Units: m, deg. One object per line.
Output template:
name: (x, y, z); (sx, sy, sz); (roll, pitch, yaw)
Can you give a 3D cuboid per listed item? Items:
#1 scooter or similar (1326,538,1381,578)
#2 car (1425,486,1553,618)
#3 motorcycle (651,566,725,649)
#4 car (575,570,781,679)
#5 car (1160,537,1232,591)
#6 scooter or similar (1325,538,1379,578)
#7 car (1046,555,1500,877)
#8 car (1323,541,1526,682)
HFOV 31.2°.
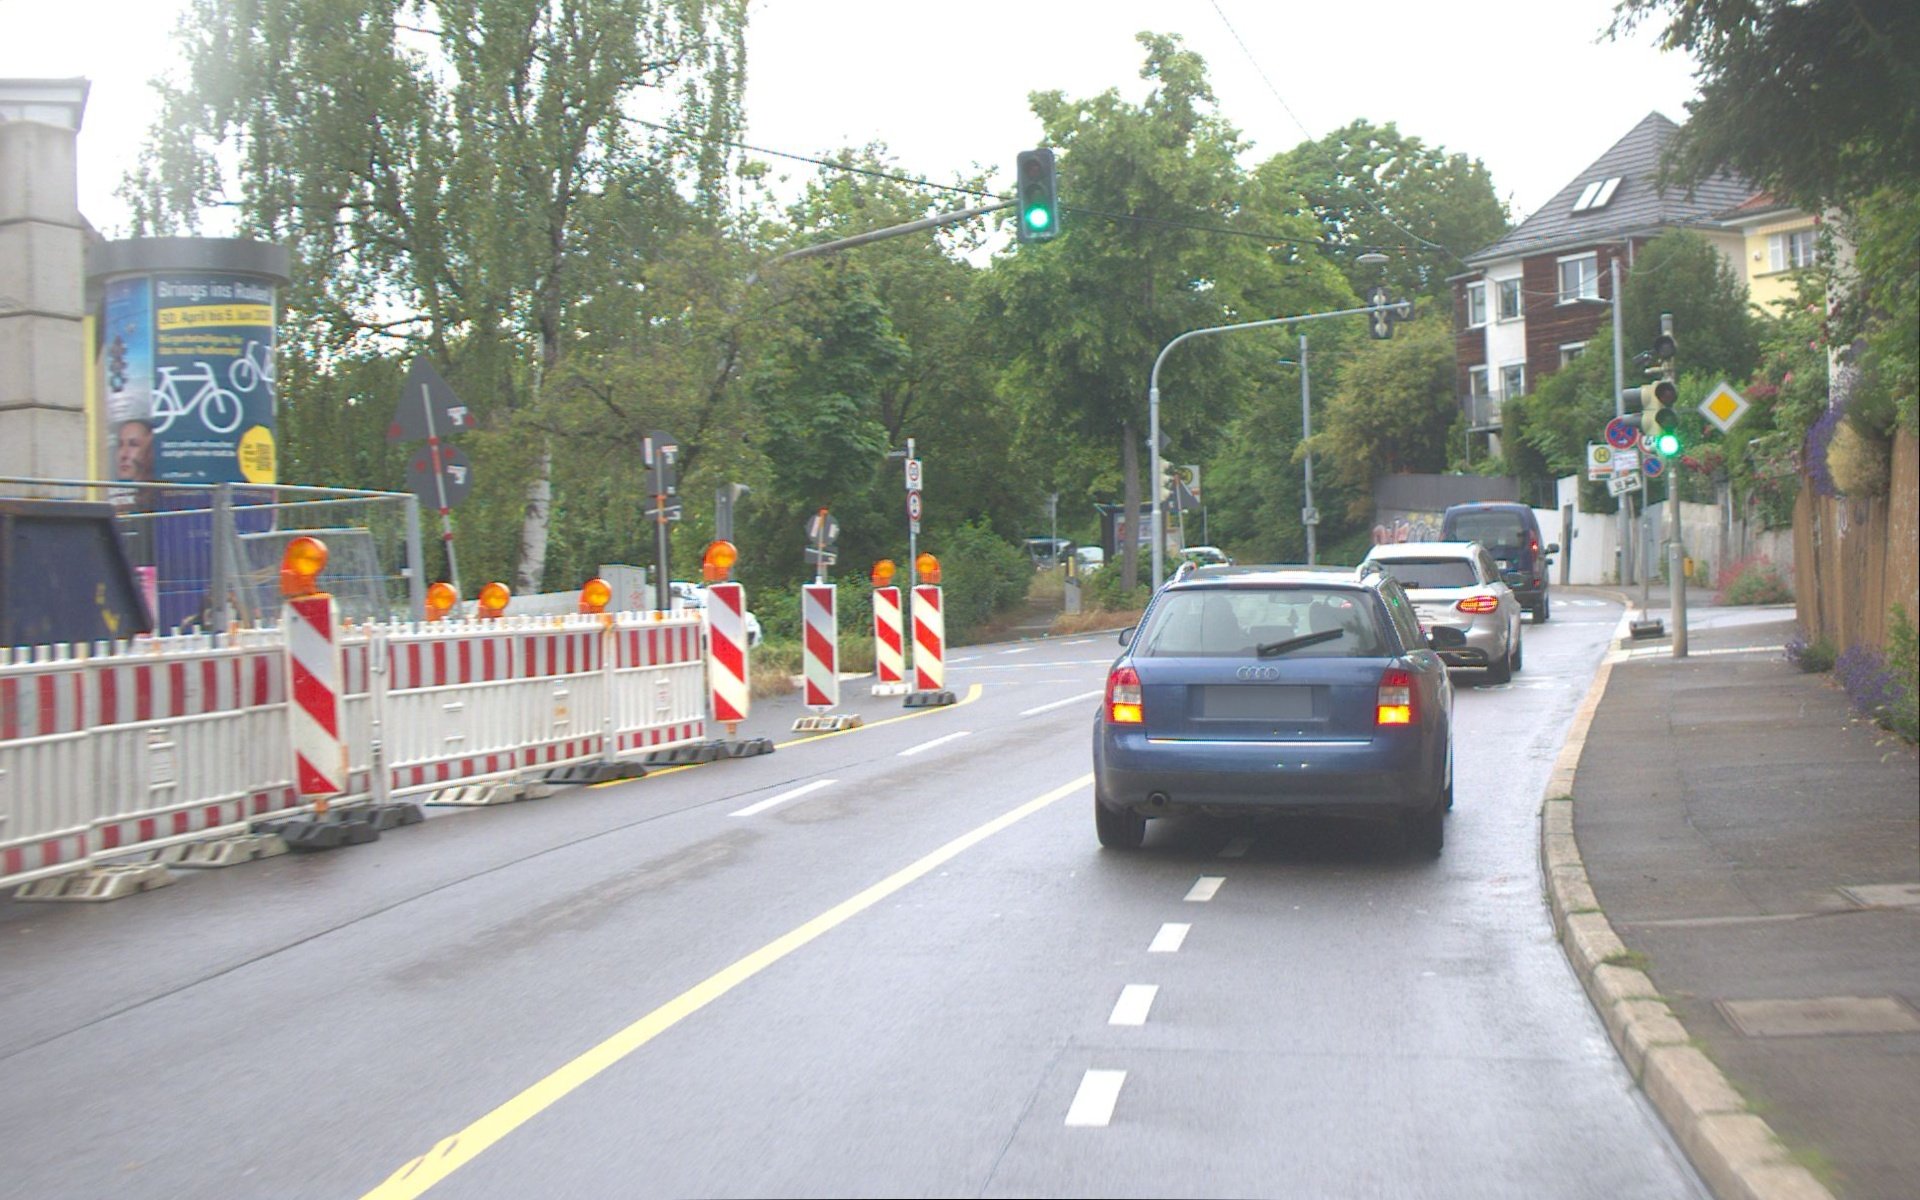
scooter or similar: (14.015, -1.500, 122.507); (1.834, 1.310, 0.600); (3, -2, 0)
car: (8.210, -0.762, 53.129); (1.731, 1.888, 4.054); (-3, 1, 11)
motorcycle: (-3.931, 0.098, 49.780); (0.591, 1.127, 1.843); (-3, 1, 9)
car: (-4.689, 0.421, 56.617); (1.684, 1.504, 4.011); (-4, -1, -31)
car: (6.714, -1.034, 98.124); (1.673, 1.422, 4.000); (-3, 1, -1)
scooter or similar: (14.086, -1.509, 123.600); (1.834, 1.310, 0.600); (3, -2, 0)
car: (1.768, 0.513, 18.179); (1.778, 1.434, 3.998); (0, 2, 14)
car: (5.000, 0.106, 36.598); (1.909, 1.384, 4.348); (1, 0, 11)
